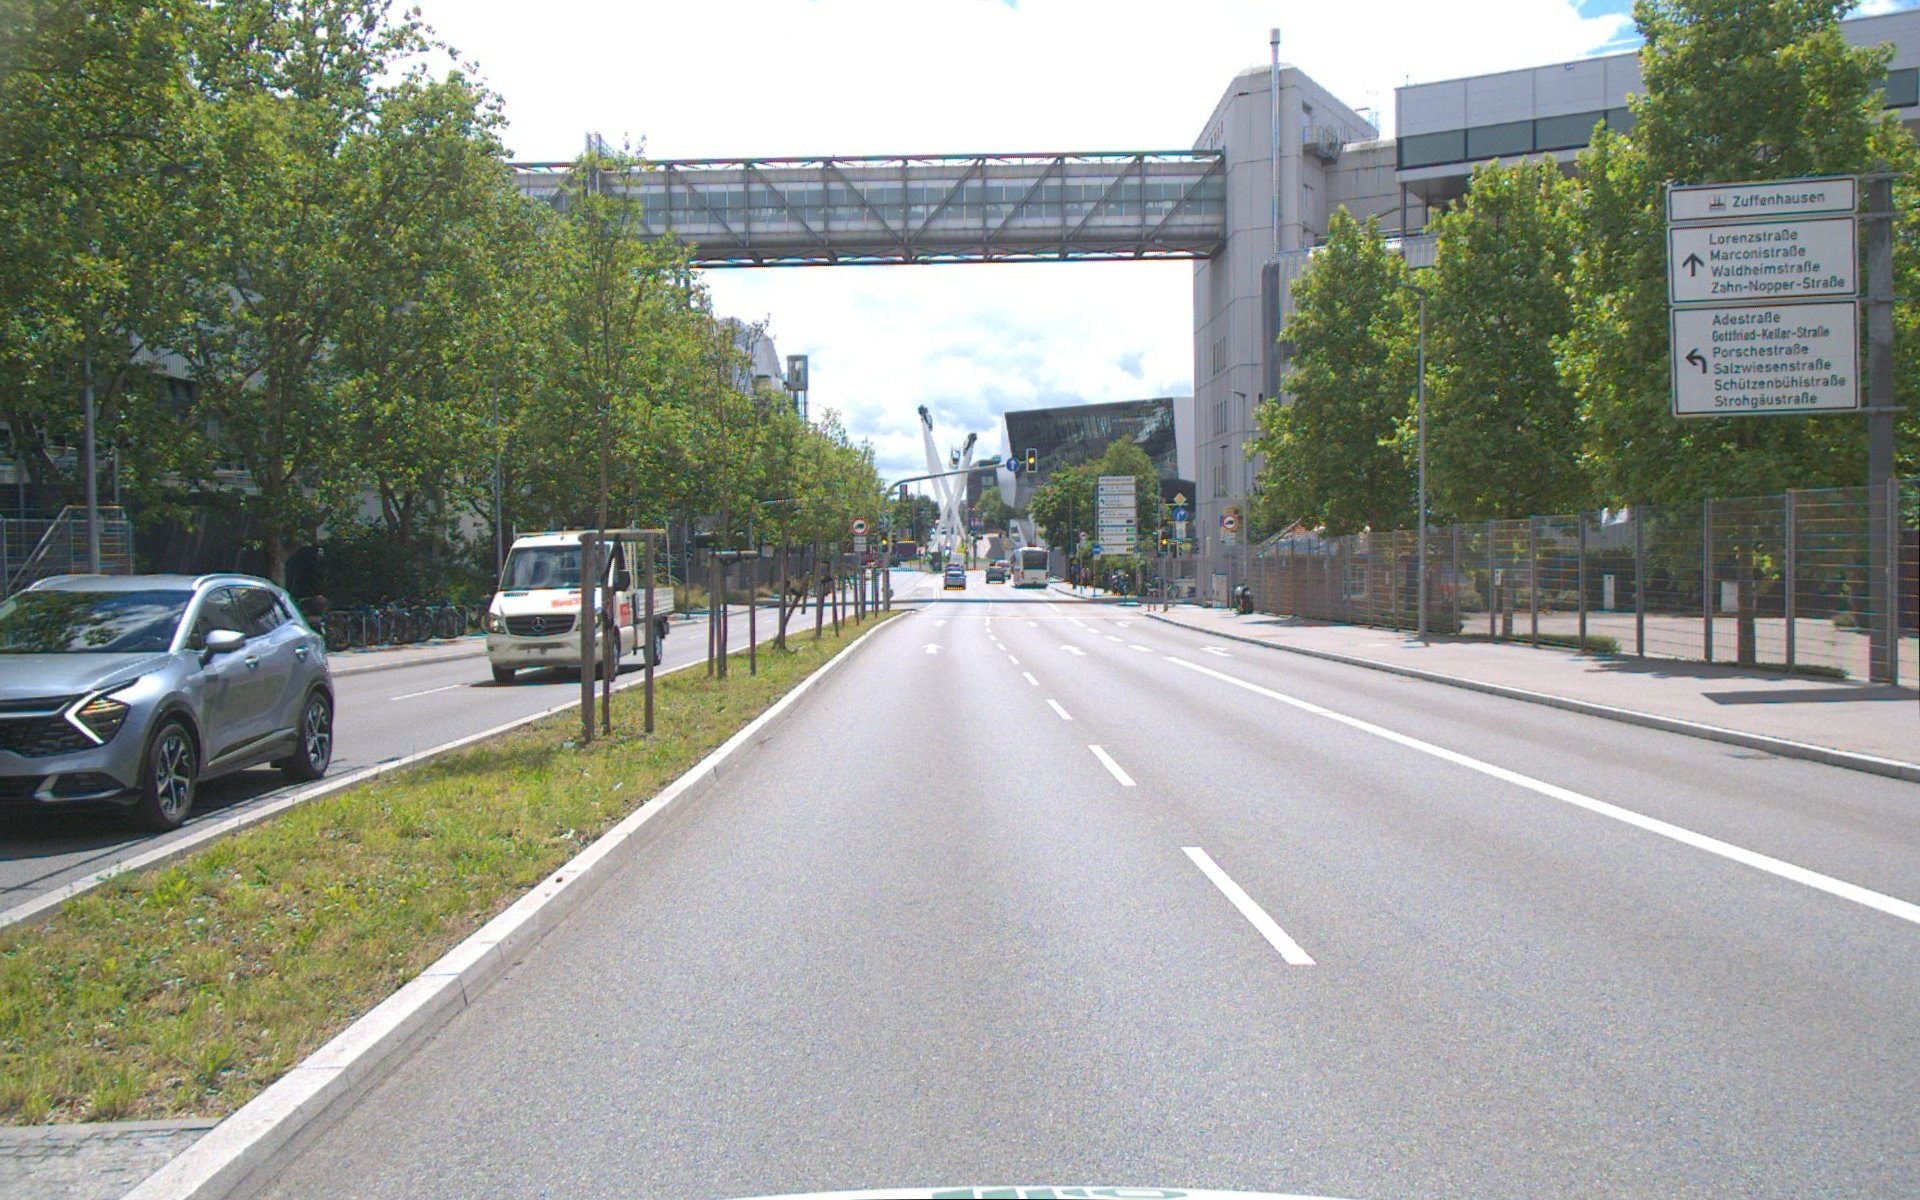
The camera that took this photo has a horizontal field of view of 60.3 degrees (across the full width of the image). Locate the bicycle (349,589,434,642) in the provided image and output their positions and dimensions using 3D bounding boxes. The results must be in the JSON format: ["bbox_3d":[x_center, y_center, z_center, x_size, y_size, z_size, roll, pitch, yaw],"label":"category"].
[{"bbox_3d":[-14.337,0.384,41.739,1.879,1.305,0.806,0,0,-2],"label":"bicycle"}]

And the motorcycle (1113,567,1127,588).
[{"bbox_3d":[10.152,-1.439,105.244,0.692,1.224,2.024,-2,2,1],"label":"motorcycle"}]

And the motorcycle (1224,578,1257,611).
[{"bbox_3d":[10.405,-0.208,61.476,0.679,1.178,2.146,-2,1,-4],"label":"motorcycle"}]

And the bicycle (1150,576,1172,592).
[{"bbox_3d":[12.059,-0.981,99.398,0.392,0.953,1.913,0,1,-25],"label":"bicycle"}]

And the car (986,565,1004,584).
[{"bbox_3d":[3.381,-2.466,159.137,1.702,1.772,3.692,0,1,1],"label":"car"}]

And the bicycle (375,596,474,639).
[{"bbox_3d":[-14.724,0.478,45.496,2.510,1.115,0.696,-1,0,9],"label":"bicycle"}]

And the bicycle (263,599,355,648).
[{"bbox_3d":[-14.679,0.519,37.294,1.885,1.093,0.422,0,0,-2],"label":"bicycle"}]

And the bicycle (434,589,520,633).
[{"bbox_3d":[-14.112,0.318,48.336,2.354,1.280,0.556,0,0,1],"label":"bicycle"}]

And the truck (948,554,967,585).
[{"bbox_3d":[-0.249,-3.881,211.639,2.343,3.965,6.178,0,1,1],"label":"truck"}]

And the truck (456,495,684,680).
[{"bbox_3d":[-6.493,-0.230,28.460,2.428,2.799,6.457,-1,1,-1],"label":"truck"}]

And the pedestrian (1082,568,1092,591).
[{"bbox_3d":[9.931,-1.622,128.950,0.623,1.772,0.821,0,1,-9],"label":"pedestrian"}]

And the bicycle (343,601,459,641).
[{"bbox_3d":[-14.727,0.540,43.614,2.783,1.024,0.849,0,1,-10],"label":"bicycle"}]

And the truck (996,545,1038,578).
[{"bbox_3d":[8.048,-5.336,232.077,3.380,4.468,9.425,0,1,18],"label":"truck"}]

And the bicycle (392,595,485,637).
[{"bbox_3d":[-14.951,0.457,47.429,2.510,1.177,0.726,0,1,9],"label":"bicycle"}]

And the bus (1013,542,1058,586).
[{"bbox_3d":[6.501,-3.094,143.614,3.382,3.605,10.605,0,1,0],"label":"bus"}]

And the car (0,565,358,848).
[{"bbox_3d":[-5.957,0.601,11.809,1.867,1.659,4.291,0,1,-2],"label":"car"}]

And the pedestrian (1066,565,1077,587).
[{"bbox_3d":[8.665,-1.894,129.111,0.803,1.737,0.881,0,1,0],"label":"pedestrian"}]

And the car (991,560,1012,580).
[{"bbox_3d":[4.623,-3.364,186.169,1.954,2.049,3.997,1,0,-4],"label":"car"}]

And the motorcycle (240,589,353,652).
[{"bbox_3d":[-14.184,0.433,35.391,2.091,1.332,0.806,0,0,-2],"label":"motorcycle"}]

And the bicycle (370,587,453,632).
[{"bbox_3d":[-14.181,0.248,42.778,1.879,1.142,0.806,0,0,-2],"label":"bicycle"}]

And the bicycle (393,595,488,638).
[{"bbox_3d":[-14.544,0.455,46.289,2.510,1.177,0.644,0,1,9],"label":"bicycle"}]

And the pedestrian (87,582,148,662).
[{"bbox_3d":[-16.918,0.426,33.222,0.738,1.579,0.821,0,0,9],"label":"pedestrian"}]

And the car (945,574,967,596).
[{"bbox_3d":[-0.295,-1.226,134.508,1.702,1.772,3.692,0,1,1],"label":"car"}]

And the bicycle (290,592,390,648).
[{"bbox_3d":[-14.848,0.476,39.644,2.091,1.305,0.806,0,0,-2],"label":"bicycle"}]

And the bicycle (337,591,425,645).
[{"bbox_3d":[-14.192,0.439,40.570,1.879,1.305,0.806,0,0,-2],"label":"bicycle"}]

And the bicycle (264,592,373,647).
[{"bbox_3d":[-14.161,0.431,36.559,2.091,1.201,0.806,0,0,-2],"label":"bicycle"}]

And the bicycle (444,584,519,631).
[{"bbox_3d":[-14.312,0.220,49.480,2.122,1.387,0.490,0,0,1],"label":"bicycle"}]
